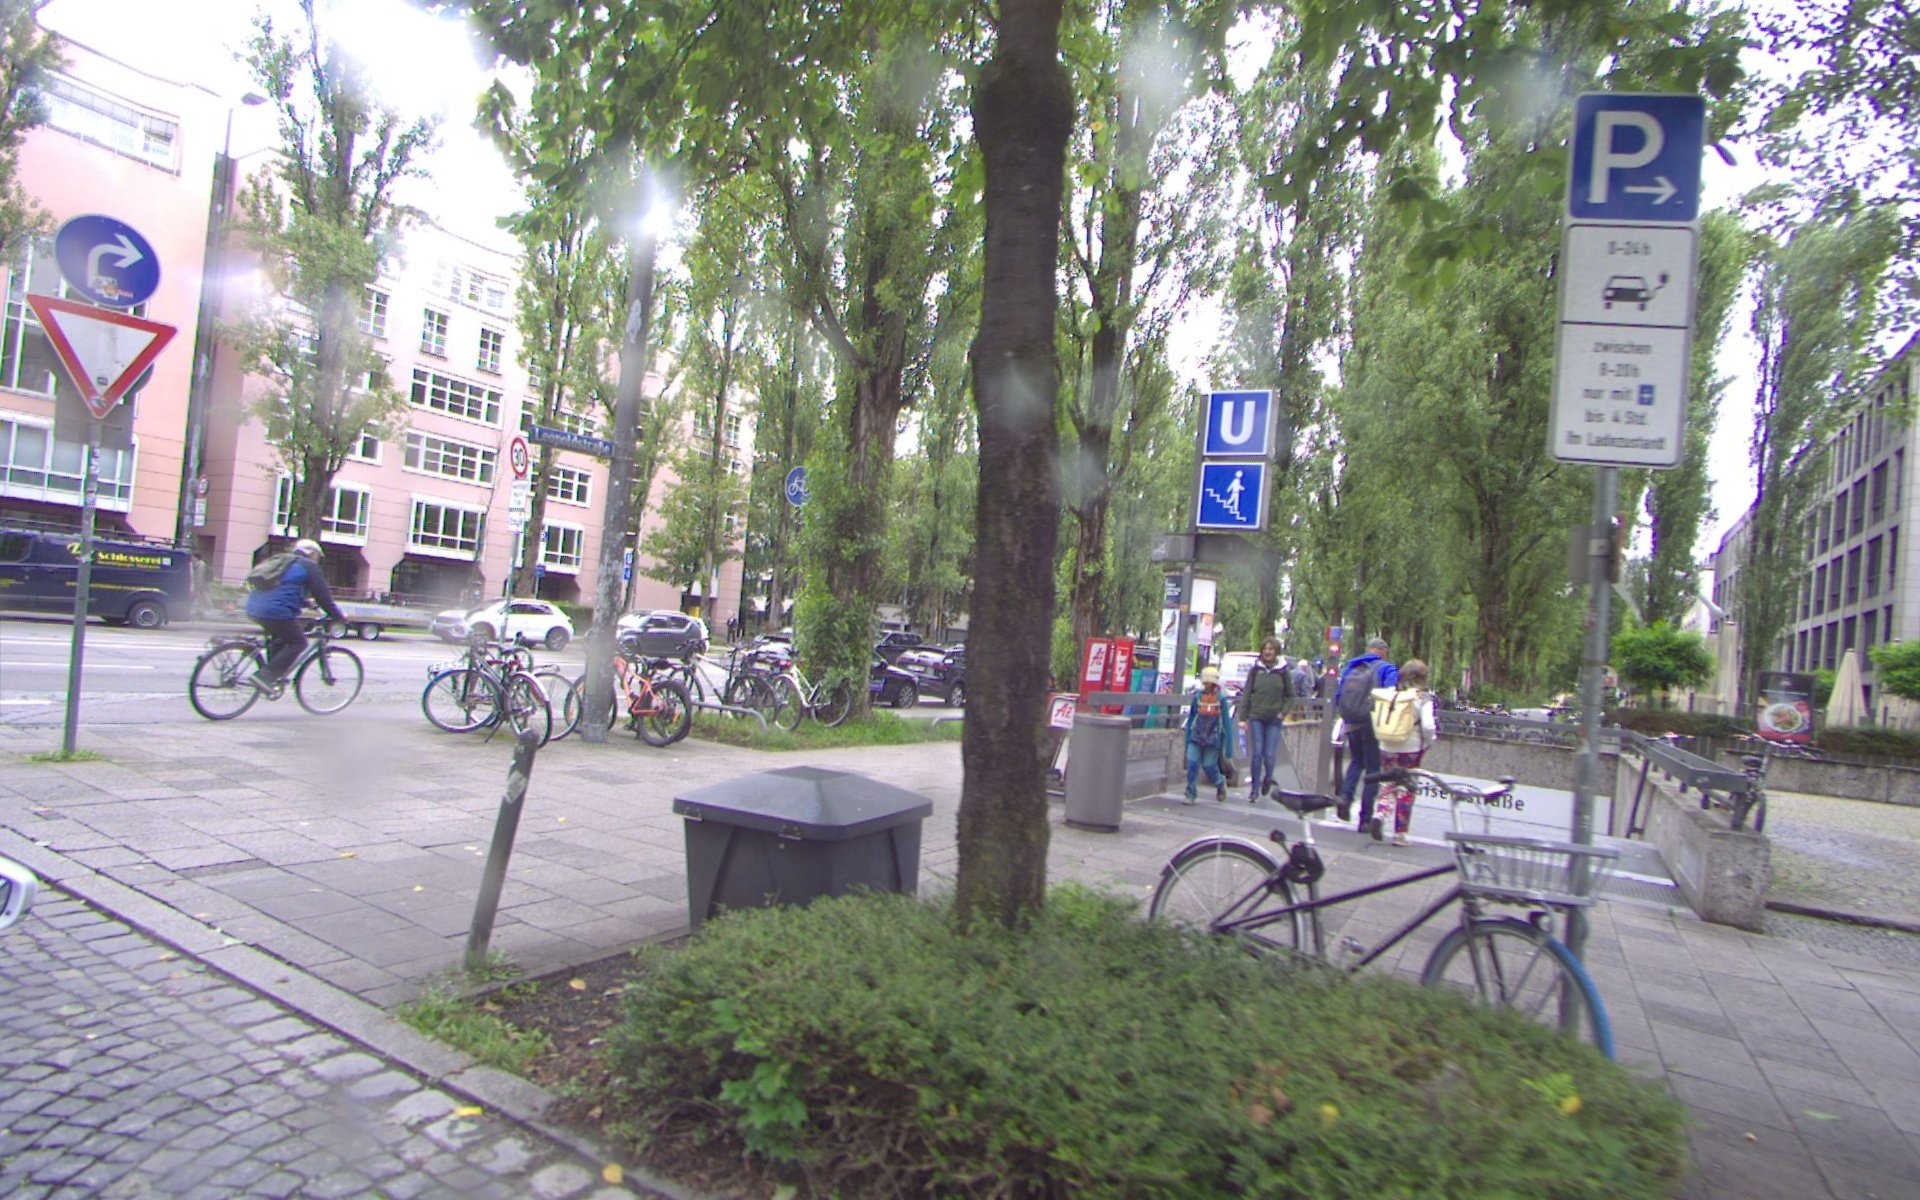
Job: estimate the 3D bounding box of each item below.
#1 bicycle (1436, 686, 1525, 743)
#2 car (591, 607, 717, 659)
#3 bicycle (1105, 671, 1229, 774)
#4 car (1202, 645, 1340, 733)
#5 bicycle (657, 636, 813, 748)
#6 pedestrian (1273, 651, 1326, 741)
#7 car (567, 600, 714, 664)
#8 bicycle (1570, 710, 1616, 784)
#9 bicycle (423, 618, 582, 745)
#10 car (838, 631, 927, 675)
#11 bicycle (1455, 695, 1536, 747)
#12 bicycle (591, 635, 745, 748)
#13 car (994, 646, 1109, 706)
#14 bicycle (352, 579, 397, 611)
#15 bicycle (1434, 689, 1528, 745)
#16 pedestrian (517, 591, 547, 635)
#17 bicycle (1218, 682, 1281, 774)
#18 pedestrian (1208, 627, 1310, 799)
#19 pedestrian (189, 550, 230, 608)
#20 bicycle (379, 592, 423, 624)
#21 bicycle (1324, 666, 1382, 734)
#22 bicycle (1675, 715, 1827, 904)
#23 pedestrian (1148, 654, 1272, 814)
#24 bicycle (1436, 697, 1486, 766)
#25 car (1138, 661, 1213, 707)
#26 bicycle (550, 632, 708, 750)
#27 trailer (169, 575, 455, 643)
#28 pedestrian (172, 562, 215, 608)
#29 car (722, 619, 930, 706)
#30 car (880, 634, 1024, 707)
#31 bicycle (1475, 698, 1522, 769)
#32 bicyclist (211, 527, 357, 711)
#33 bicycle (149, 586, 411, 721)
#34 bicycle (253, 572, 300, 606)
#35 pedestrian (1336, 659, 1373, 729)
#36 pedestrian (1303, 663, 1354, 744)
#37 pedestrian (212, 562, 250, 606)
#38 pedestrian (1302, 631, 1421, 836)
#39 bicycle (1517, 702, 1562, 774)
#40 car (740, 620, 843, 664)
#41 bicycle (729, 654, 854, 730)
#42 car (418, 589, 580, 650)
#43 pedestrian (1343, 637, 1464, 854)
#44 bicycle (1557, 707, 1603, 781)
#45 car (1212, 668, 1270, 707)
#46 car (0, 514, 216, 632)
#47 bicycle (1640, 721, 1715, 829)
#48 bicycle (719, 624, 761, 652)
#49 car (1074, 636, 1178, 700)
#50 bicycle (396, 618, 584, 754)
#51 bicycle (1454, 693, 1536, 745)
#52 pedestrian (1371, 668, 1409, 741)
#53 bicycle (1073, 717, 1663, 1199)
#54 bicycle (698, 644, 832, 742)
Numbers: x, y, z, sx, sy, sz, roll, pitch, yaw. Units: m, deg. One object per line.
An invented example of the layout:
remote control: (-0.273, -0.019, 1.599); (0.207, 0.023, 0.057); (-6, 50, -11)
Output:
bicycle: (12.926, 2.825, 25.017); (1.840, 1.173, 0.586); (4, -2, 34)
car: (-11.197, 1.259, 37.090); (1.965, 1.560, 4.323); (5, -2, 25)
bicycle: (2.654, 1.552, 12.773); (0.580, 1.173, 1.860); (4, -2, 43)
car: (8.246, 2.362, 26.315); (1.787, 1.918, 5.189); (5, -2, 36)
bicycle: (-2.691, 1.065, 11.925); (1.899, 1.118, 0.512); (4, -2, 31)
pedestrian: (7.334, 2.069, 21.717); (0.739, 1.824, 0.840); (5, -2, 36)
car: (-9.309, 0.986, 29.589); (1.819, 1.544, 3.746); (3, -3, 32)
bicycle: (11.172, 2.557, 17.770); (0.578, 1.173, 1.866); (5, -2, 32)
bicycle: (-4.694, 0.799, 10.263); (1.846, 1.063, 0.475); (5, -1, 33)
car: (-3.795, 2.678, 50.186); (1.967, 1.818, 4.754); (5, -2, 31)
bicycle: (14.656, 3.300, 27.544); (1.839, 1.173, 0.586); (5, -2, 34)
bicycle: (-3.253, 0.988, 11.130); (1.847, 1.063, 0.475); (3, -2, 33)
car: (2.892, 2.367, 30.829); (1.719, 1.544, 4.228); (6, -2, 31)
bicycle: (-24.064, -0.212, 41.335); (2.073, 1.138, 0.674); (4, -1, 32)
bicycle: (13.213, 2.951, 25.533); (2.000, 1.173, 0.586); (4, -2, 34)
pedestrian: (-17.488, 0.534, 41.107); (0.698, 1.734, 0.730); (5, -1, 32)
bicycle: (4.192, 1.805, 14.496); (0.577, 1.173, 1.869); (5, -2, 23)
pedestrian: (3.197, 1.195, 10.753); (0.686, 1.721, 0.656); (6, -1, -43)
pedestrian: (-23.880, -0.659, 32.012); (0.698, 1.734, 0.730); (5, -1, 32)
bicycle: (-23.392, 0.328, 42.075); (1.957, 1.138, 0.674); (4, -1, 32)
bicycle: (7.456, 1.888, 19.021); (0.578, 1.173, 1.981); (5, -2, 32)
bicycle: (6.526, 1.651, 8.391); (0.710, 1.291, 1.866); (5, -2, 32)
pedestrian: (2.475, 1.303, 9.970); (0.765, 1.436, 0.809); (6, -1, -43)
bicycle: (9.483, 2.454, 19.010); (0.578, 1.173, 1.866); (5, -2, 32)
car: (8.807, 3.439, 40.916); (1.719, 1.545, 3.946); (6, -2, 30)
bicycle: (-3.557, 0.944, 10.732); (1.847, 1.063, 0.475); (3, -2, 33)
trailer: (-17.229, 0.314, 27.161); (2.366, 1.213, 6.027); (4, -3, 32)
pedestrian: (-25.104, -0.486, 32.959); (0.718, 1.385, 0.710); (5, -1, 2)
car: (-2.706, 1.375, 21.304); (1.729, 1.444, 4.437); (6, -2, 35)
car: (-0.126, 1.858, 25.761); (1.720, 1.545, 3.901); (6, -2, 32)
bicycle: (10.012, 2.452, 18.679); (0.578, 1.173, 1.866); (5, -2, 32)
bicyclist: (-6.455, 0.192, 9.630); (0.711, 1.638, 0.757); (5, -1, 22)
bicycle: (-6.482, 0.553, 9.706); (0.708, 1.160, 1.897); (1, -5, 33)
bicycle: (-26.045, -0.418, 38.309); (1.957, 1.138, 0.674); (4, -1, 32)
pedestrian: (10.985, 2.608, 27.993); (0.689, 1.862, 0.704); (5, -1, 34)
pedestrian: (7.827, 2.197, 21.344); (0.688, 1.625, 0.831); (5, -2, 36)
pedestrian: (-24.608, -0.535, 33.955); (0.698, 1.385, 0.730); (5, -2, 32)
pedestrian: (3.658, 1.190, 9.144); (0.655, 1.716, 0.802); (5, -1, 41)
bicycle: (10.554, 2.481, 18.301); (0.578, 1.173, 1.866); (5, -2, 32)
car: (-7.284, 1.853, 43.941); (1.968, 1.560, 4.316); (4, -2, 32)
bicycle: (-2.276, 1.214, 13.487); (1.806, 0.827, 0.470); (3, -2, 37)
car: (-14.294, 0.641, 31.424); (1.778, 1.560, 4.224); (3, -3, 33)
pedestrian: (3.792, 1.210, 8.573); (0.602, 1.700, 0.842); (5, -1, 41)
bicycle: (11.066, 2.537, 17.955); (0.578, 1.173, 1.866); (5, -2, 32)
car: (13.800, 4.303, 49.294); (1.719, 1.610, 3.946); (6, -2, 30)
car: (-20.127, -0.631, 22.199); (1.990, 2.223, 5.488); (5, -2, 31)
bicycle: (9.041, 2.159, 12.723); (0.578, 1.173, 1.866); (5, -2, 32)
bicycle: (-10.428, 1.793, 47.654); (1.957, 1.138, 0.674); (4, -1, 32)
car: (6.013, 2.486, 35.941); (1.884, 1.947, 5.034); (6, -2, 30)
bicycle: (-4.436, 0.782, 9.451); (1.843, 1.063, 0.475); (4, -2, 26)
bicycle: (14.347, 3.177, 27.003); (1.840, 1.173, 0.586); (4, -2, 34)
pedestrian: (11.715, 2.833, 27.395); (0.688, 1.888, 0.716); (5, -2, 36)
bicycle: (1.363, 1.114, 3.652); (1.850, 1.150, 0.474); (4, -2, 40)
bicycle: (-2.505, 1.164, 12.793); (1.806, 1.050, 0.512); (3, -2, 37)
